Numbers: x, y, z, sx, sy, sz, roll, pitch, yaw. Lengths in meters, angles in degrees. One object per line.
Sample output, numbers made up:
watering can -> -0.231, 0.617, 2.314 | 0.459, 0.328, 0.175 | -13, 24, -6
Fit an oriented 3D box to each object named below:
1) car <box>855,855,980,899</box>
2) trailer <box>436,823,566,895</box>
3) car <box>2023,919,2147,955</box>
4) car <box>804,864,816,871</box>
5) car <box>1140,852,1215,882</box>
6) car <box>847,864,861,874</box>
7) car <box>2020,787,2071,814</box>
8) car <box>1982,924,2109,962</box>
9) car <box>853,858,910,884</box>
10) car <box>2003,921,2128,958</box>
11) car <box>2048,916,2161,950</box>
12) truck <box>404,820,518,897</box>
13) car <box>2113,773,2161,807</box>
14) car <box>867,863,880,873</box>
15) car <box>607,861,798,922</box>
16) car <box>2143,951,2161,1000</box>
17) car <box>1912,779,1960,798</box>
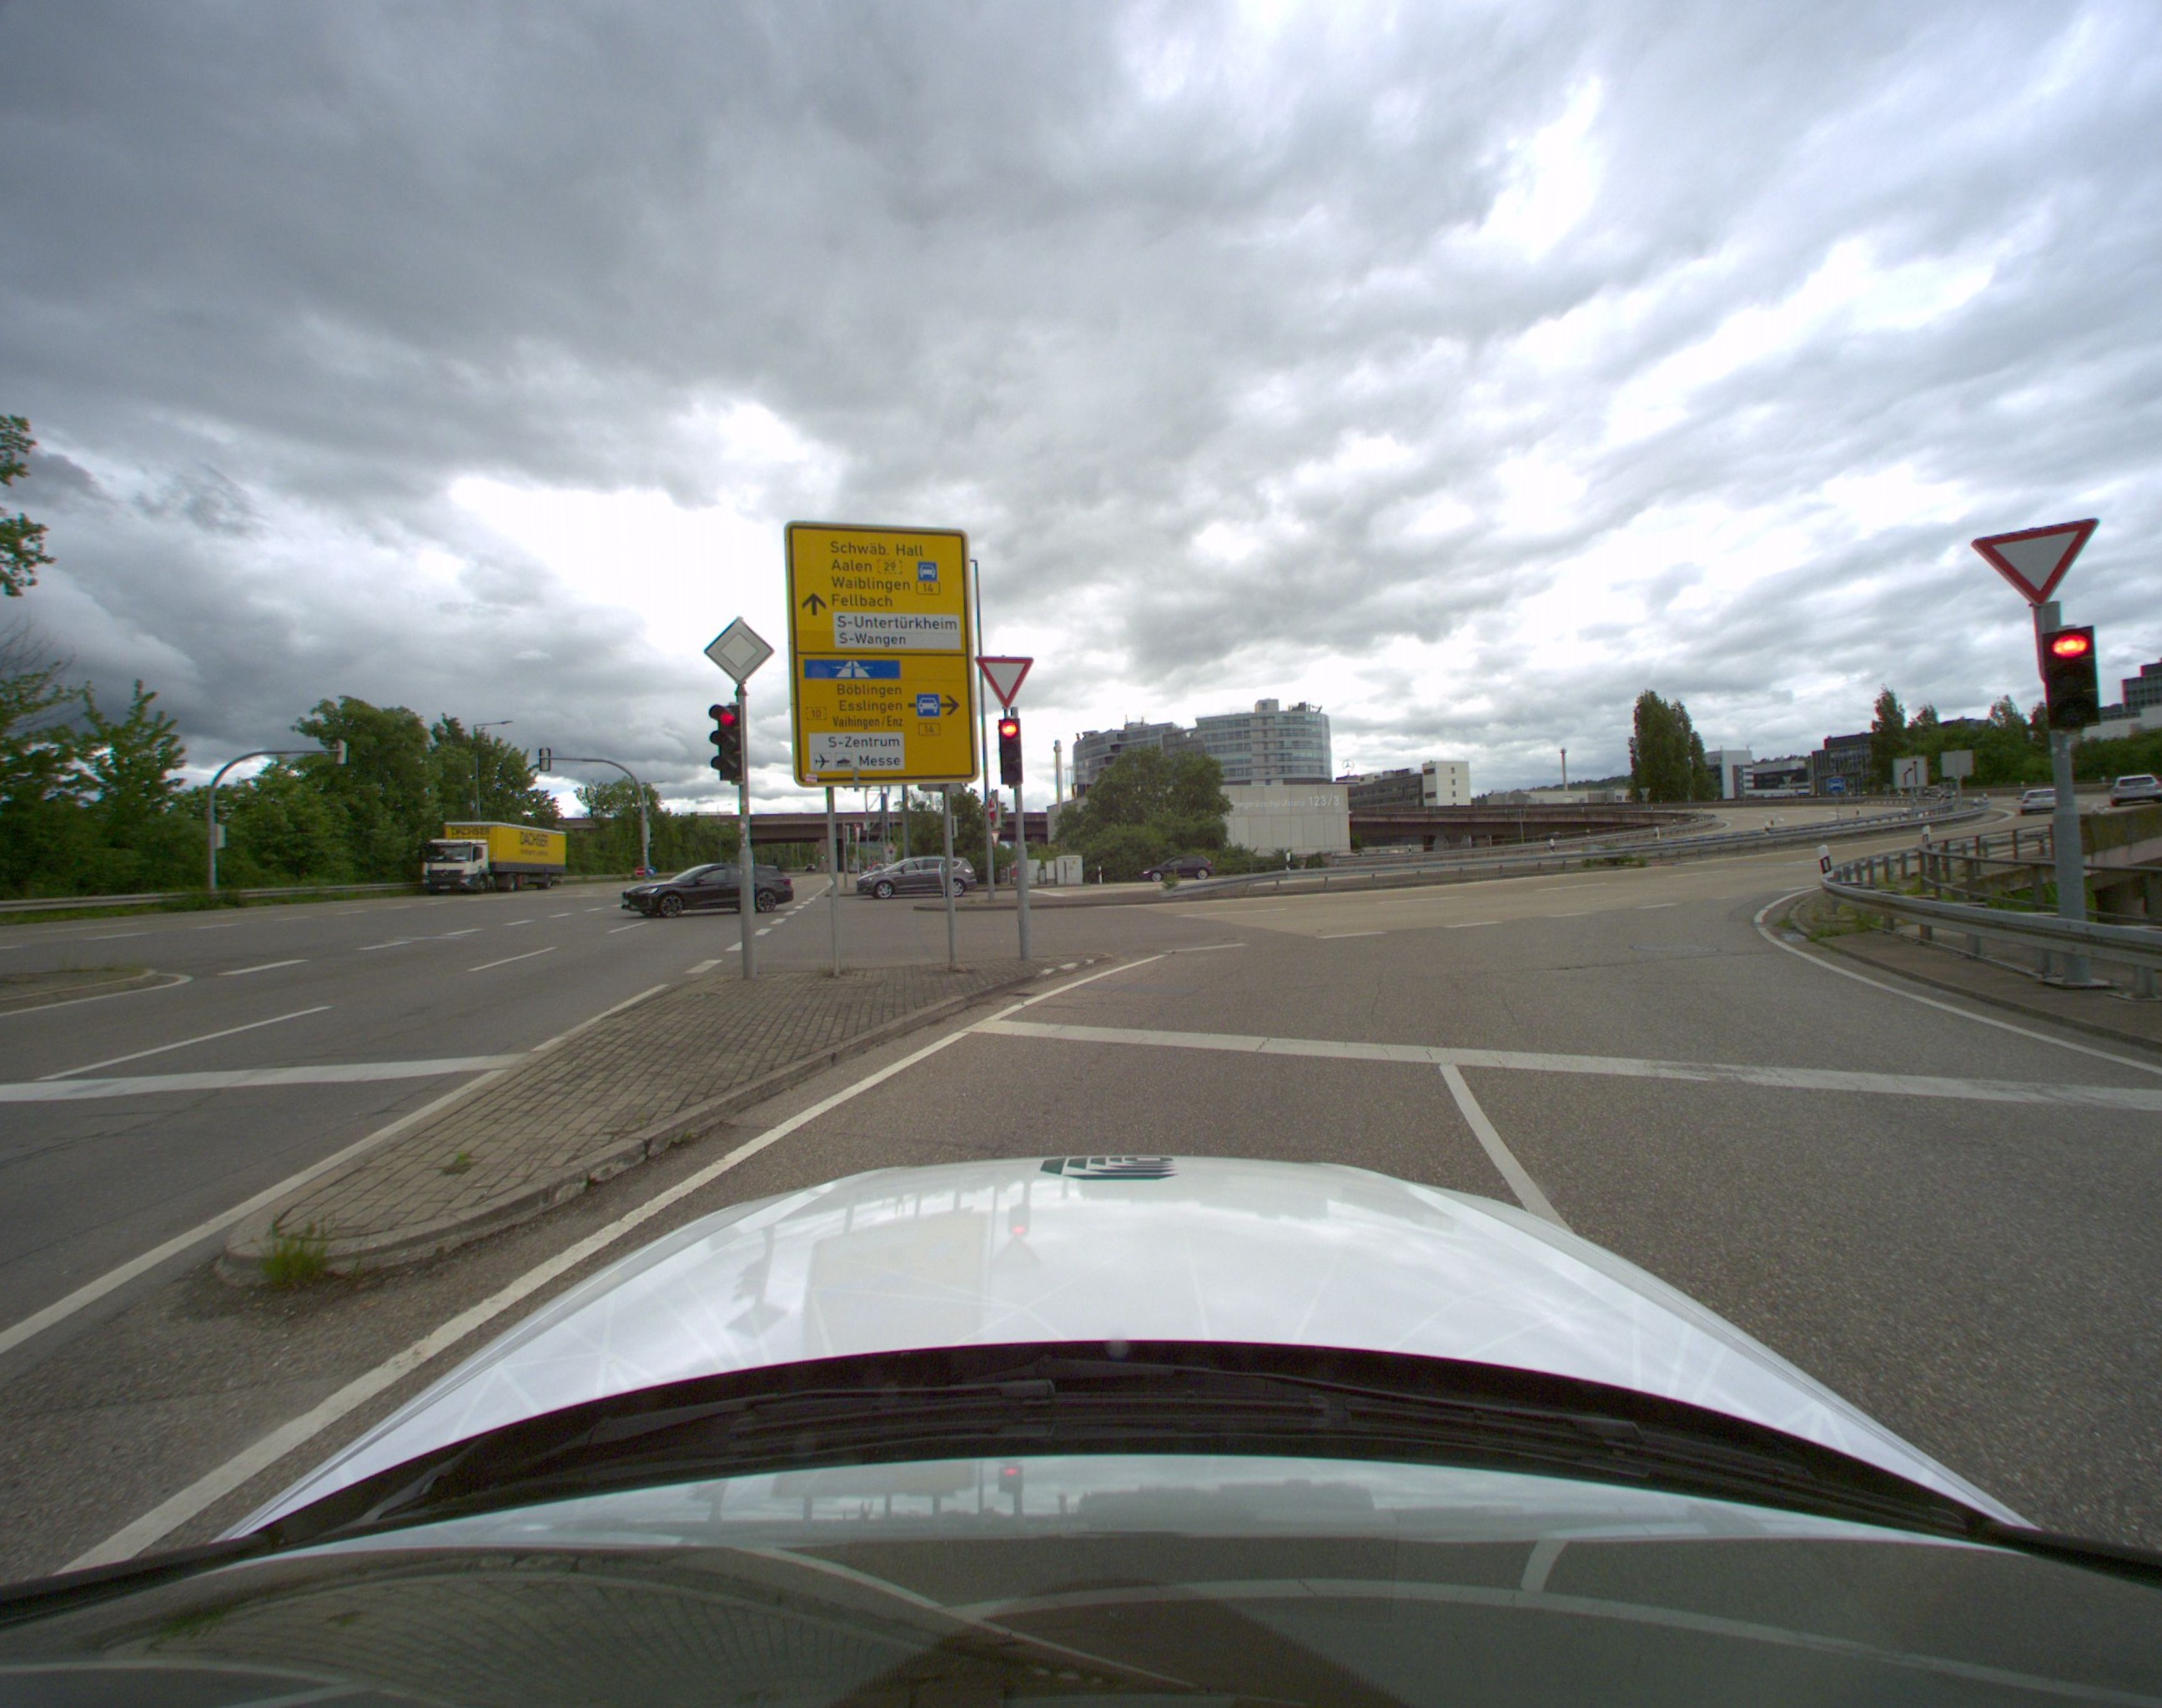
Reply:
car -> -6.592, 0.888, 32.859 | 4.696, 1.571, 1.942 | -1, 1, -21
trailer -> -36.652, 0.270, 52.150 | 2.876, 4.084, 11.369 | 1, 0, -15
car -> 52.283, 4.274, 42.492 | 1.832, 1.354, 3.827 | -3, 1, -29
car -> -59.465, 2.960, 178.918 | 1.861, 1.383, 3.858 | 2, 1, -8
car -> 5.416, 0.712, 46.150 | 3.968, 1.421, 1.915 | -3, 0, -1
car -> -35.364, 2.304, 126.858 | 1.996, 1.442, 4.090 | 0, -2, -14
car -> 57.572, -3.170, 48.667 | 4.089, 1.400, 1.709 | -2, 0, -43
car -> 48.147, 4.410, 40.730 | 1.832, 1.354, 3.827 | -3, 1, -29
car -> -13.980, 1.174, 56.866 | 1.925, 1.662, 4.692 | 2, 0, -40
car -> 50.303, 4.321, 41.683 | 1.832, 1.354, 3.827 | -3, 1, -29
car -> 54.888, 4.190, 43.553 | 1.832, 1.354, 3.827 | -3, 1, -29
truck -> -35.262, 0.261, 46.646 | 2.876, 4.084, 6.454 | 1, 0, -15
car -> 60.862, -3.658, 46.822 | 4.576, 1.737, 1.711 | -2, 0, -36
car -> -33.183, 2.183, 130.035 | 1.997, 1.464, 4.088 | 0, -2, -15
car -> -10.890, 1.011, 23.671 | 1.931, 1.457, 4.648 | 0, 1, 44
car -> 41.601, 4.477, 30.231 | 4.006, 1.534, 1.812 | -3, 1, -25
car -> 84.195, -6.444, 80.228 | 1.708, 1.461, 4.268 | -4, -2, 24
